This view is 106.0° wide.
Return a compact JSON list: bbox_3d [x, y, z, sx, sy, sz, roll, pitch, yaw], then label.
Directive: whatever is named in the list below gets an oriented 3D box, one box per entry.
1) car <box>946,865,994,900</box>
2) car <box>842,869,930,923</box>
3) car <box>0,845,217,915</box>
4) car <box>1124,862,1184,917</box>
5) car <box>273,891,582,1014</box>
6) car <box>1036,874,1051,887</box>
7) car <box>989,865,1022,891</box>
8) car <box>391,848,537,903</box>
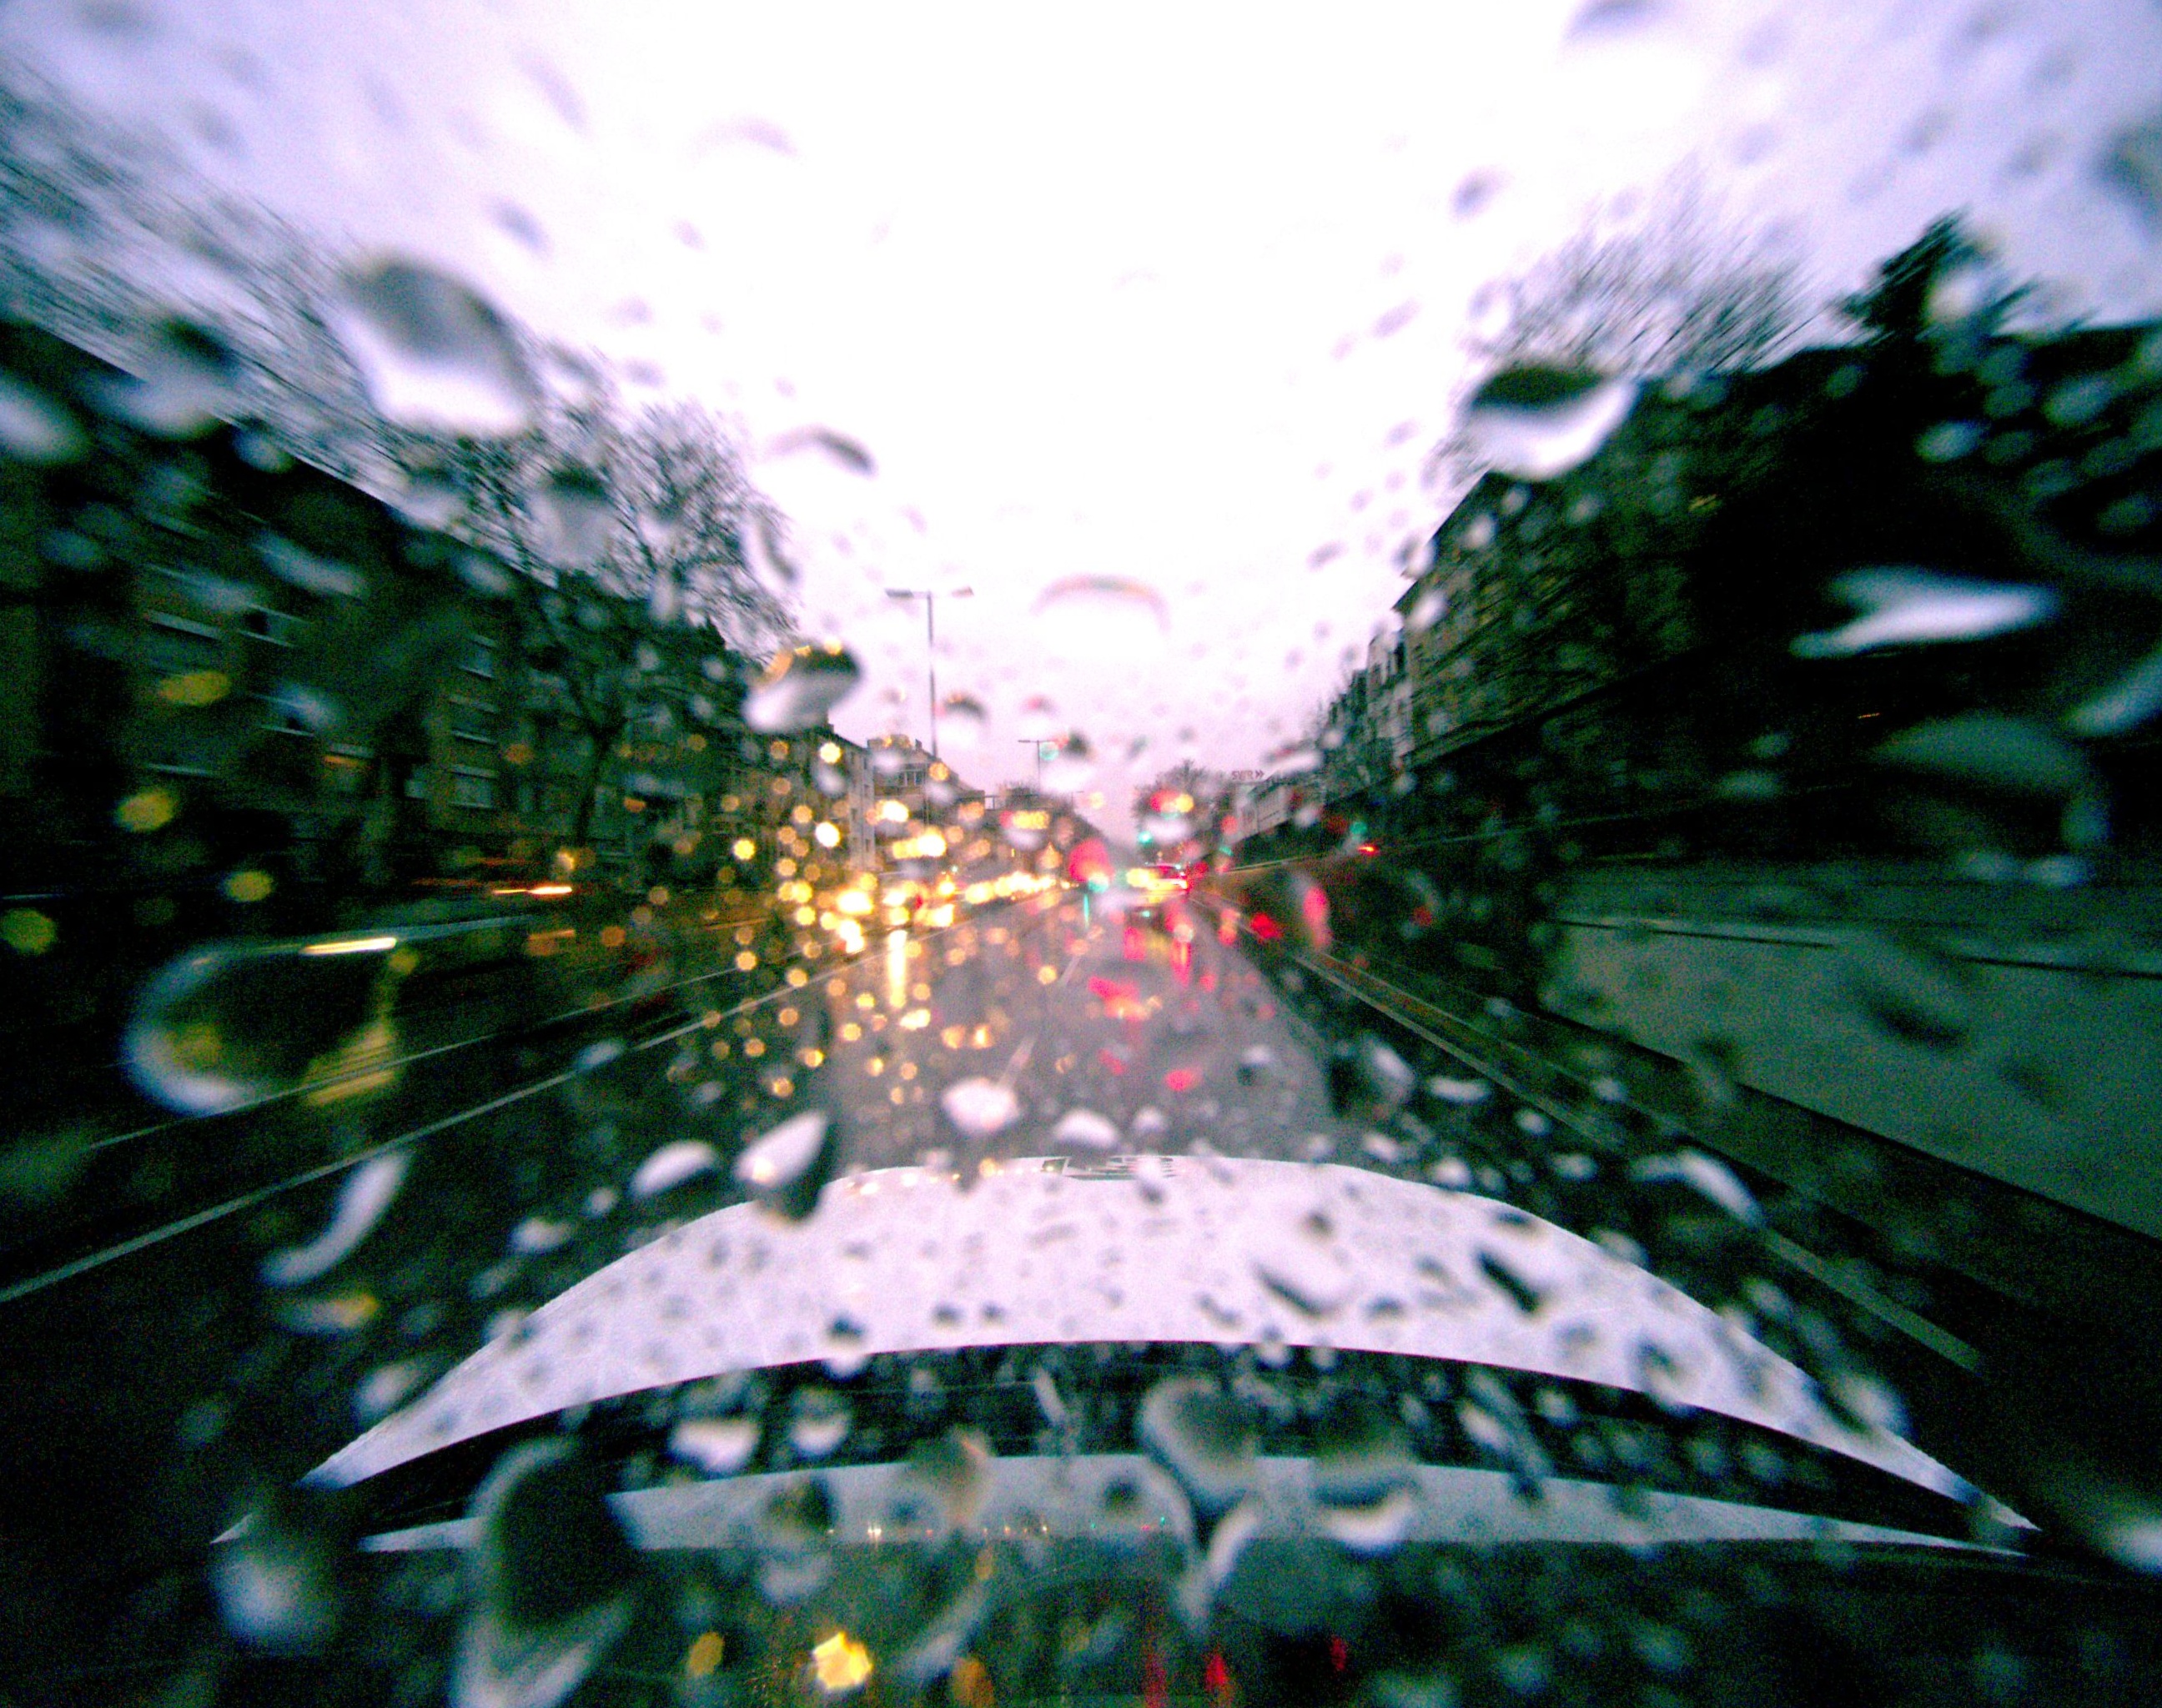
[{"bbox_3d":[-5.111,1.285,37.743,1.490,1.383,3.437,-3,0,3],"label":"car"},{"bbox_3d":[-6.011,1.255,25.488,1.601,1.383,3.698,-3,0,3],"label":"car"},{"bbox_3d":[-20.468,0.545,16.935,1.434,1.272,3.264,-3,-2,3],"label":"car"},{"bbox_3d":[1.961,0.950,22.426,1.525,1.397,3.436,0,-2,3],"label":"car"},{"bbox_3d":[-10.076,1.436,13.002,1.667,1.383,3.778,-3,0,3],"label":"car"},{"bbox_3d":[-4.765,3.323,102.838,1.490,1.383,3.436,-3,0,2],"label":"car"},{"bbox_3d":[-4.602,1.450,49.894,1.490,1.383,3.436,-3,0,2],"label":"car"},{"bbox_3d":[-19.946,0.696,26.547,1.559,1.564,3.939,-3,-2,3],"label":"car"}]
